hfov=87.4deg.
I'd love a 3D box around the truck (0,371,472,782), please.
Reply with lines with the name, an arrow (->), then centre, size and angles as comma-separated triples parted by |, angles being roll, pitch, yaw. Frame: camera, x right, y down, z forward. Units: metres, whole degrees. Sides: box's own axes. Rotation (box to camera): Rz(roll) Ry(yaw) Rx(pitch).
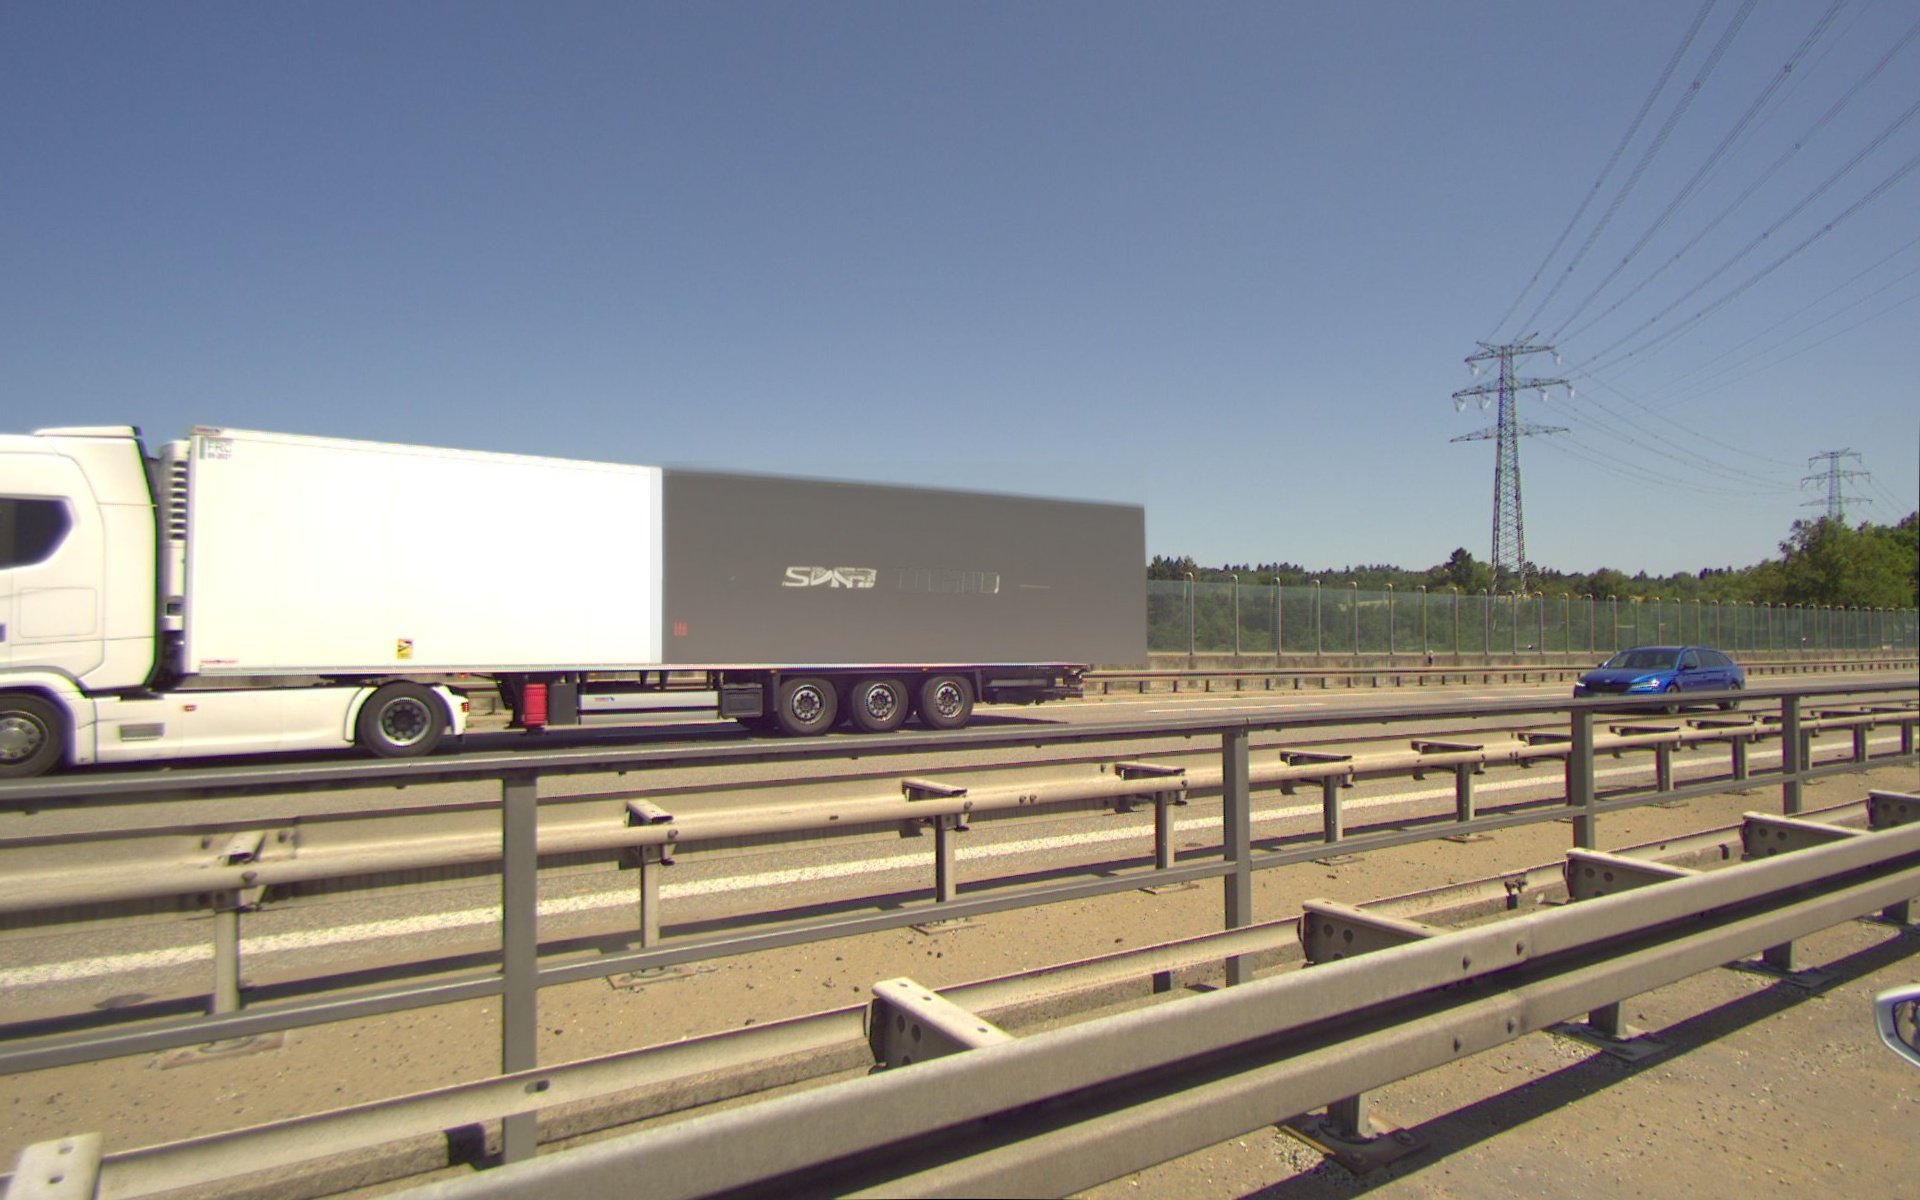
truck -> -9.948, -0.143, 12.427 | 6.777, 4.349, 2.916 | 2, -4, -30

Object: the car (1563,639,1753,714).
car -> 15.638, 1.643, 22.451 | 4.551, 1.511, 1.764 | 1, -2, -31

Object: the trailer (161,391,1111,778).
trailer -> -3.797, 0.083, 15.988 | 13.502, 4.363, 2.893 | 2, -3, -30
